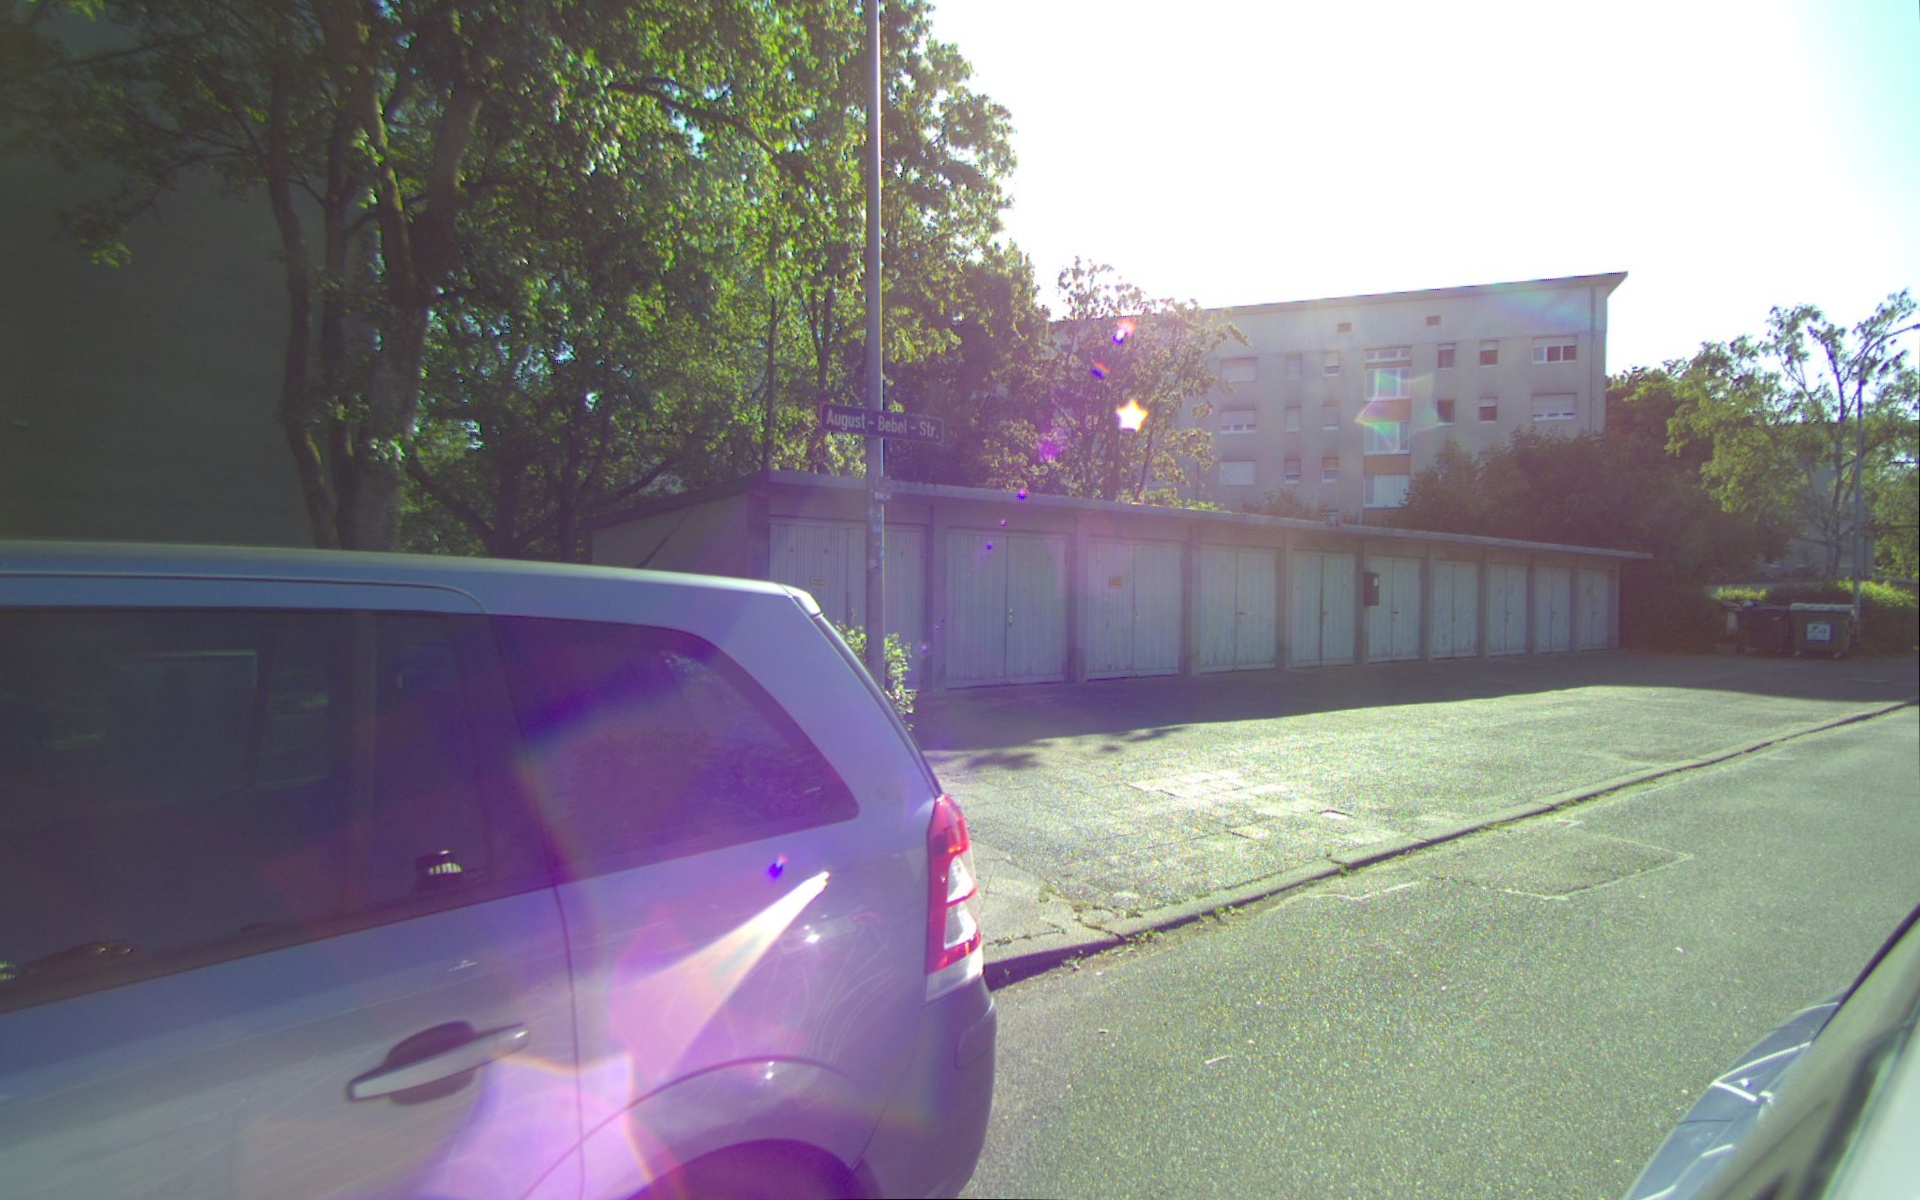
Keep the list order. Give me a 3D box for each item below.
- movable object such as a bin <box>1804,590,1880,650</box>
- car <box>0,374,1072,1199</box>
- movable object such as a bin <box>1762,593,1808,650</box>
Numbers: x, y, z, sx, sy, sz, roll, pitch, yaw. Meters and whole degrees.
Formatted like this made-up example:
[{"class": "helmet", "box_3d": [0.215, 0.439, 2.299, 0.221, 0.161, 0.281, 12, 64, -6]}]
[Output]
[{"class": "movable object such as a bin", "box_3d": [22.906, 0.498, 26.289, 1.159, 1.459, 1.277, -1, 2, -40]}, {"class": "car", "box_3d": [-1.989, 0.609, 1.344, 4.295, 1.631, 1.771, -1, -1, -40]}, {"class": "movable object such as a bin", "box_3d": [21.851, 0.550, 26.807, 0.833, 1.459, 0.753, -1, 2, -40]}]
